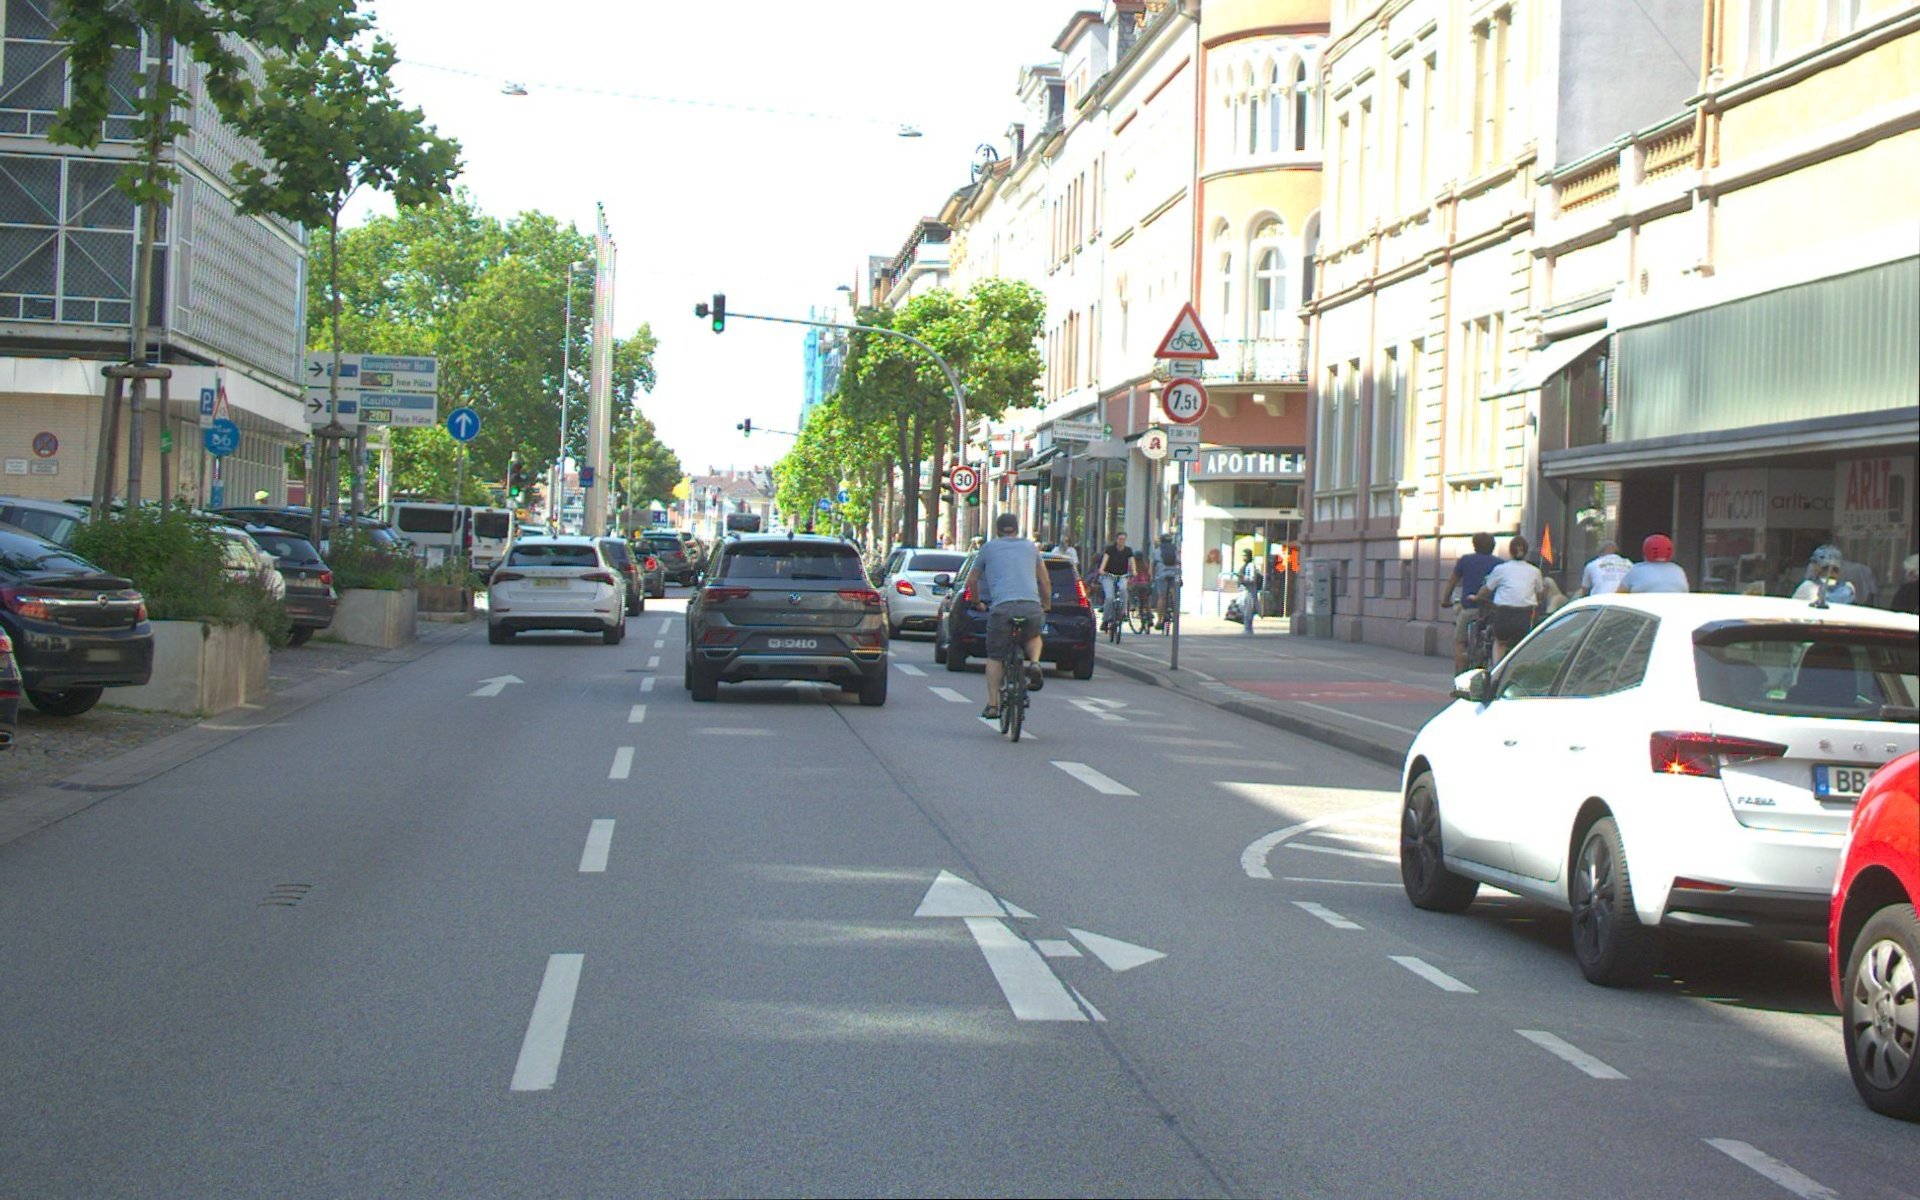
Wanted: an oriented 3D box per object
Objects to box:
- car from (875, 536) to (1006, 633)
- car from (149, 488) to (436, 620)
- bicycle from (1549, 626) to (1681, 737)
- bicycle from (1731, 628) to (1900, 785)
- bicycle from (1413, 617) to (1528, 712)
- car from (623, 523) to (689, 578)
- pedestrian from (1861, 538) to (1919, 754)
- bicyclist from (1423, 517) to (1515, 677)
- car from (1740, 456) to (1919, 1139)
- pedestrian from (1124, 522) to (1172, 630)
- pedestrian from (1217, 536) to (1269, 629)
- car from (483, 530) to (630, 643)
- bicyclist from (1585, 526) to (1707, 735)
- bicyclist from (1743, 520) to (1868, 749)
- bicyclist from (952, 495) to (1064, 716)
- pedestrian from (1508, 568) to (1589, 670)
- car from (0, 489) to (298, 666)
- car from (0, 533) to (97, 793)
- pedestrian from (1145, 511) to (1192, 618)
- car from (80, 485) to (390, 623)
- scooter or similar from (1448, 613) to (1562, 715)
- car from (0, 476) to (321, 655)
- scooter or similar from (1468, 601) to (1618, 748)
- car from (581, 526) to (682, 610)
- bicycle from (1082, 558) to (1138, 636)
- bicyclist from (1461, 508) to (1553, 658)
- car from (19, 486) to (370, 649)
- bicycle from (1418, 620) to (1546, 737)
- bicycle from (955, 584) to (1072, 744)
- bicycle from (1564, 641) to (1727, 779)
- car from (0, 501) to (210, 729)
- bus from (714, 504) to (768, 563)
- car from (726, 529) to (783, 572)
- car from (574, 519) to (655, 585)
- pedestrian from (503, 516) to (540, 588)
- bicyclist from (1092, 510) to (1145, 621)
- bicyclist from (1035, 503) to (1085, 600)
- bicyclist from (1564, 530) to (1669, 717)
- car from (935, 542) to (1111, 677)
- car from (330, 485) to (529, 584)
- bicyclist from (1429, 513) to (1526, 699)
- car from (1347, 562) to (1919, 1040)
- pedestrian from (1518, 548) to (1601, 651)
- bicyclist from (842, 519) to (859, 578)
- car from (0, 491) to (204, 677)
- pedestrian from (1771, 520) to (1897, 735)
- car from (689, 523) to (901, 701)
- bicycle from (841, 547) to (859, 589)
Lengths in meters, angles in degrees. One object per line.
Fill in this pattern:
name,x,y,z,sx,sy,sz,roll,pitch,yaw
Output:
car,-0.347,-0.272,54.370,1.822,1.380,4.001,2,2,-3
car,-10.024,-0.700,51.847,3.986,1.540,1.718,6,0,-6
bicycle,5.723,0.701,30.147,0.647,0.876,2.103,2,1,-3
bicycle,6.048,0.733,24.411,0.563,0.993,2.103,2,1,-3
bicycle,5.175,0.639,34.975,0.740,0.876,2.138,2,1,-3
car,-8.478,-1.400,95.979,1.743,1.436,4.001,2,1,-5
pedestrian,7.669,0.359,27.370,0.647,1.679,0.944,2,1,-3
bicyclist,5.178,-0.038,35.007,0.709,1.589,0.963,2,1,-2
car,3.676,0.614,8.601,1.827,1.857,4.355,4,1,-8
pedestrian,3.390,-0.438,62.096,0.709,1.893,1.152,2,1,-1
pedestrian,5.335,-0.335,64.845,0.791,1.714,0.730,1,1,-9
car,-5.480,-0.214,47.022,1.862,1.436,4.001,1,1,-5
bicyclist,4.966,0.212,24.915,0.625,1.471,0.889,2,1,-2
bicyclist,6.039,0.235,24.586,0.582,1.589,0.920,2,1,-2
bicyclist,0.372,0.029,27.213,0.694,1.667,0.916,4,2,-3
pedestrian,7.438,0.236,43.459,0.936,1.264,0.567,0,1,2
car,-8.949,-0.290,34.600,3.990,1.485,1.782,6,1,13
car,-7.294,0.192,20.087,4.647,1.403,1.902,5,2,39
pedestrian,3.599,-0.617,59.379,0.652,1.803,0.729,2,1,-3
car,-10.159,-0.643,48.399,3.986,1.495,1.718,6,0,-6
scooter or similar,5.268,0.613,33.285,0.853,0.916,1.165,2,1,-2
car,-9.337,-0.416,38.109,3.992,1.563,1.698,7,1,21
scooter or similar,4.733,0.592,28.031,0.870,1.118,1.621,1,1,-2
car,-5.994,-0.609,62.988,1.743,1.436,4.001,2,1,-5
bicycle,2.333,-0.063,53.778,0.555,1.116,2.244,4,1,-4
bicyclist,4.644,-0.150,29.217,0.623,1.244,0.608,2,1,-2
car,-9.238,-0.398,41.395,3.995,1.454,1.667,7,1,33
bicycle,4.547,0.665,30.078,0.647,0.876,2.389,2,2,-2
bicycle,0.405,0.486,27.252,0.664,1.116,2.244,4,1,-4
bicycle,4.949,0.777,24.952,0.647,0.876,2.103,2,1,-3
car,-7.893,-0.025,25.307,4.347,1.508,1.830,5,1,26
bus,-14.043,-4.291,220.079,2.769,3.592,8.976,2,1,-7
car,-7.232,-1.740,120.697,1.862,1.436,4.001,2,1,-5
car,-7.921,-1.120,79.089,1.743,1.436,4.001,2,1,-5
pedestrian,-10.045,-1.097,78.676,0.612,1.610,0.550,2,-1,-34
bicyclist,2.464,-0.528,53.566,0.694,1.668,0.835,2,-2,-3
bicyclist,1.808,-0.883,62.161,0.694,1.667,0.835,4,2,-4
bicyclist,5.748,0.196,30.125,0.658,1.589,0.920,2,1,-2
car,0.733,0.088,42.116,1.822,1.404,3.187,4,2,-3
car,-13.158,-1.632,85.150,4.719,1.996,1.937,6,0,36
bicyclist,4.538,0.049,30.186,0.632,1.589,0.920,2,0,-2
car,3.042,0.693,14.032,1.812,1.461,4.582,4,2,-7
pedestrian,7.433,-0.011,42.642,0.936,1.264,0.567,0,1,2
bicyclist,-3.024,-1.420,95.037,0.419,1.624,0.709,2,1,-2
car,-9.139,-0.275,31.715,3.986,1.495,1.718,6,0,-8
pedestrian,7.161,0.217,28.205,0.878,1.712,0.835,2,1,9
car,-1.598,0.066,32.279,1.833,1.522,4.001,1,1,-4
bicycle,-3.045,-0.896,95.119,0.419,1.131,1.910,2,1,-3
